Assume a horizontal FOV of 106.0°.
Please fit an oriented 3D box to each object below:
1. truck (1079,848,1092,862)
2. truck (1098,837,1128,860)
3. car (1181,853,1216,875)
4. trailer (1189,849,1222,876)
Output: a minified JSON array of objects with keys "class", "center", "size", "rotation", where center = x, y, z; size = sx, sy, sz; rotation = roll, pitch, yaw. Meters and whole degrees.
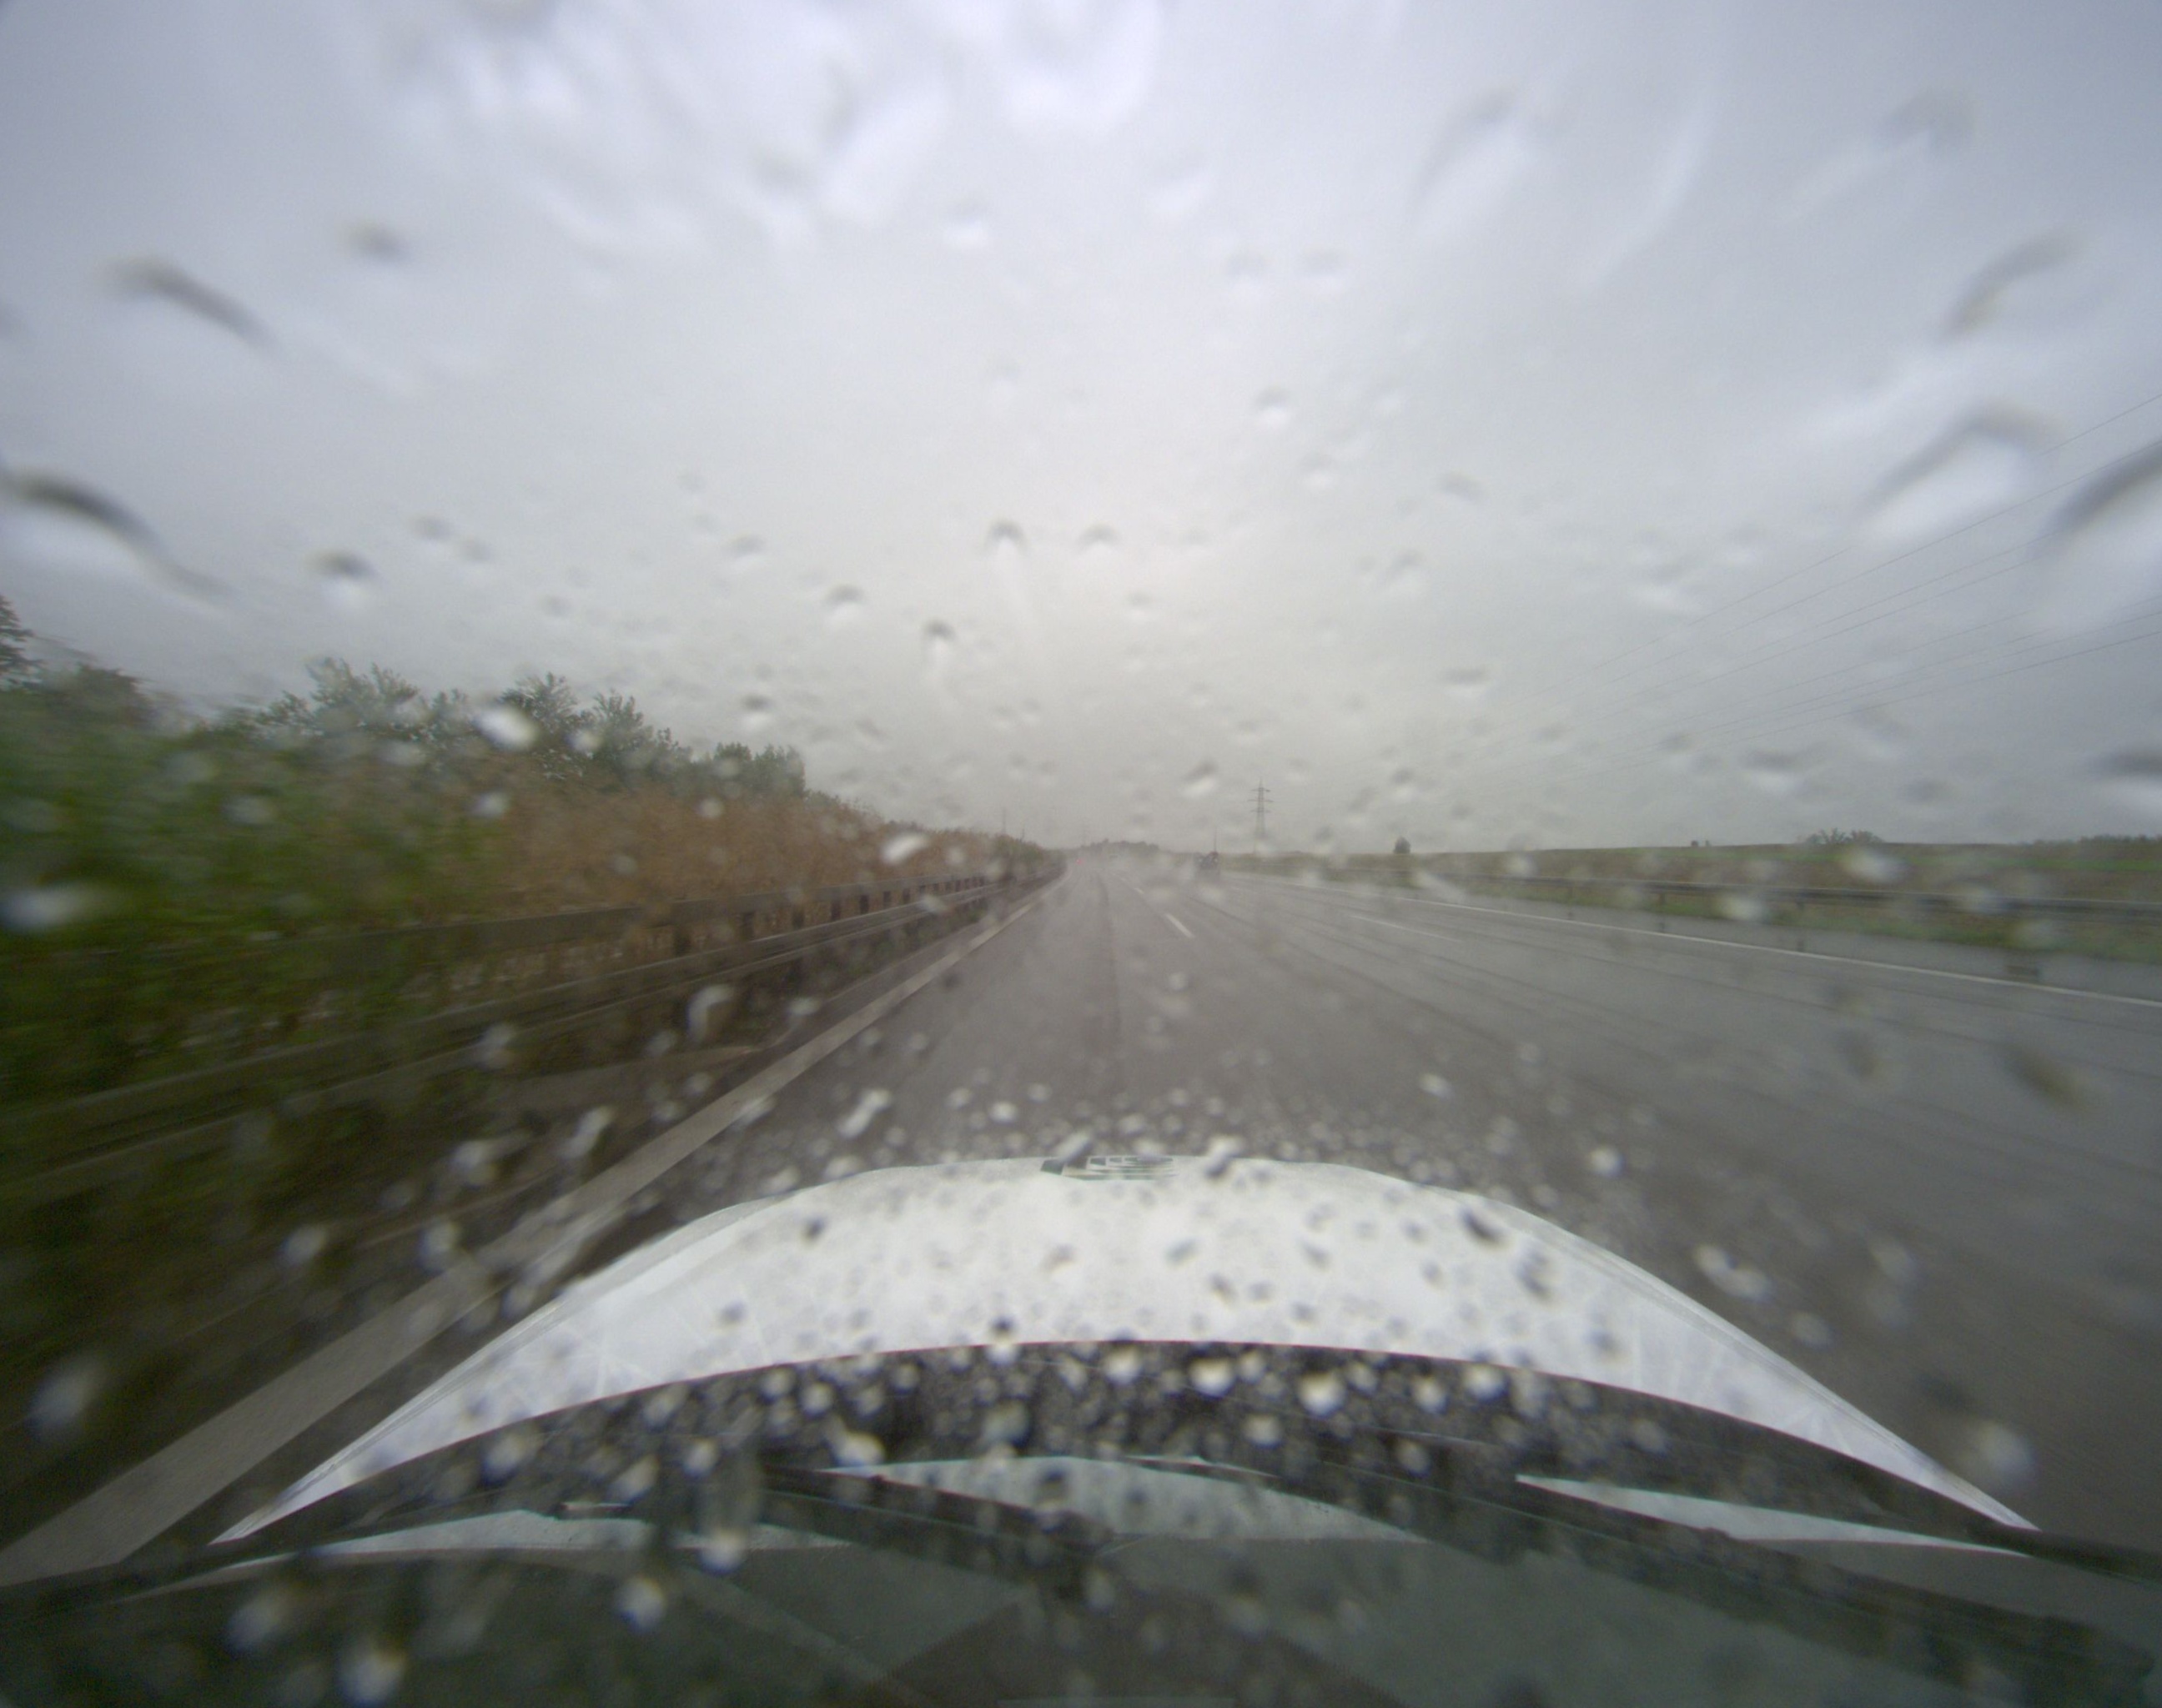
[{"class":"truck","center":[1.460,0.433,251.418],"size":[3.227,4.311,8.821],"rotation":[0,-1,-5]},{"class":"truck","center":[6.834,-1.061,177.623],"size":[4.183,4.630,16.071],"rotation":[0,-1,-6]},{"class":"car","center":[8.909,0.786,62.064],"size":[1.987,1.619,4.992],"rotation":[-1,-1,0]},{"class":"trailer","center":[8.827,0.618,57.985],"size":[1.971,1.785,3.190],"rotation":[-1,-1,2]}]
